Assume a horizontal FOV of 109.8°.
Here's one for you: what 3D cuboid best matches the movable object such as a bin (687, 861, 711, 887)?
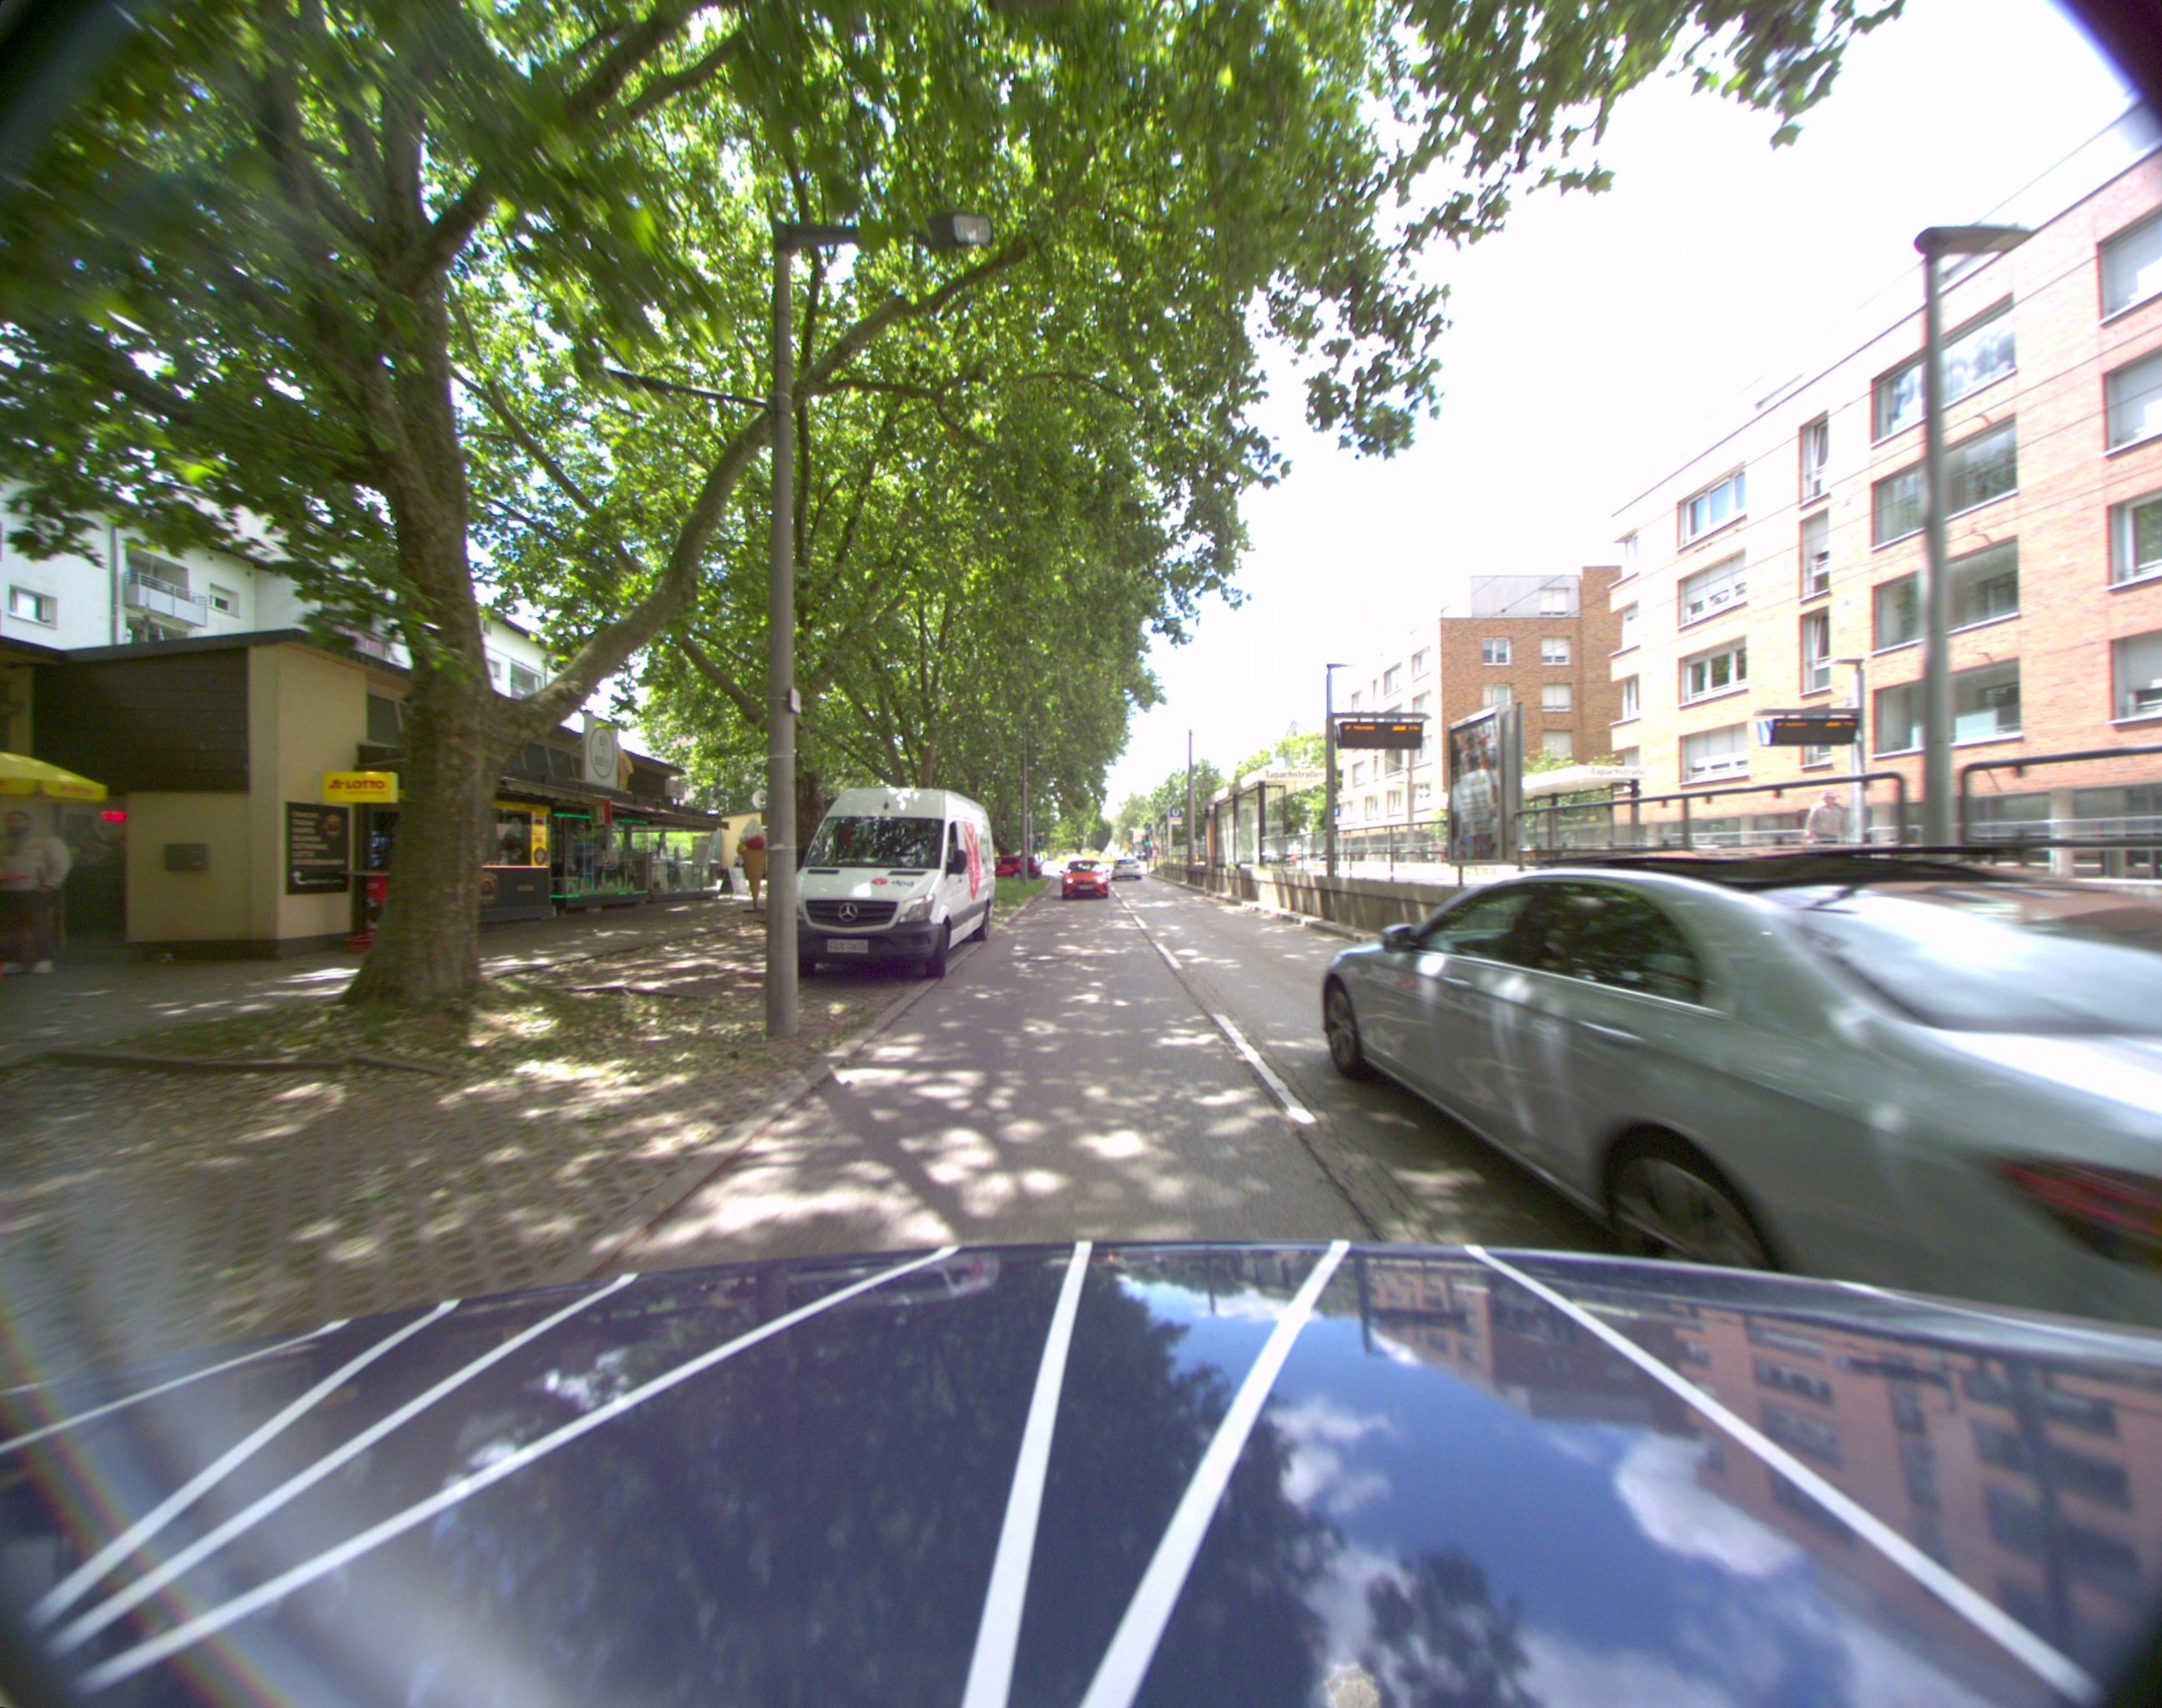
[{"bbox_3d":[-15.364,0.817,30.566,0.625,1.027,0.647,0,1,-4],"label":"movable object such as a bin"}]

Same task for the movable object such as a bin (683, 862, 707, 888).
[{"bbox_3d":[-15.170,0.813,29.881,0.625,1.010,0.647,0,1,-4],"label":"movable object such as a bin"}]

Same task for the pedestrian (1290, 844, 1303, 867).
[{"bbox_3d":[16.790,0.121,59.146,0.745,1.814,0.829,0,0,-1],"label":"pedestrian"}]

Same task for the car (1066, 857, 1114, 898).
[{"bbox_3d":[0.342,0.871,29.890,1.712,1.439,3.670,-2,0,0],"label":"car"}]

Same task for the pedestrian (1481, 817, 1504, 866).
[{"bbox_3d":[14.813,-0.434,27.346,0.535,1.753,0.528,0,1,-3],"label":"pedestrian"}]

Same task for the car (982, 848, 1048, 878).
[{"bbox_3d":[-4.404,0.582,50.959,4.038,1.602,1.731,5,1,3],"label":"car"}]

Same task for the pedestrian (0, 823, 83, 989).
[{"bbox_3d":[-11.707,0.563,8.415,0.519,1.783,0.534,-1,1,-10],"label":"pedestrian"}]

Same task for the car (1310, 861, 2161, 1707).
[{"bbox_3d":[2.539,0.827,3.093,1.767,1.472,4.576,-2,0,0],"label":"car"}]

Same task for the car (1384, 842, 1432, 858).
[{"bbox_3d":[28.970,-0.376,67.356,3.540,1.391,1.594,0,0,-2],"label":"car"}]

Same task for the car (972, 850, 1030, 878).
[{"bbox_3d":[-4.857,0.599,46.666,3.417,1.506,1.609,2,0,-4],"label":"car"}]

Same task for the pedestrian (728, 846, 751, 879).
[{"bbox_3d":[-16.301,0.403,36.273,0.752,1.526,0.907,0,1,-7],"label":"pedestrian"}]

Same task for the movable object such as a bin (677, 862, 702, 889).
[{"bbox_3d":[-15.015,0.811,29.129,0.625,1.010,0.647,0,1,-4],"label":"movable object such as a bin"}]

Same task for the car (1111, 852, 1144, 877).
[{"bbox_3d":[2.908,0.634,47.973,1.736,1.388,3.751,-2,0,-1],"label":"car"}]

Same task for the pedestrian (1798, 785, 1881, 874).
[{"bbox_3d":[14.432,-0.455,14.476,0.753,1.619,0.816,-1,1,0],"label":"pedestrian"}]

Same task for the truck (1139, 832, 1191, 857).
[{"bbox_3d":[14.272,-1.491,128.364,9.628,4.069,2.624,0,0,-39],"label":"truck"}]

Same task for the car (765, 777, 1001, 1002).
[{"bbox_3d":[-2.649,0.398,12.182,1.909,2.566,6.833,1,0,0],"label":"car"}]
